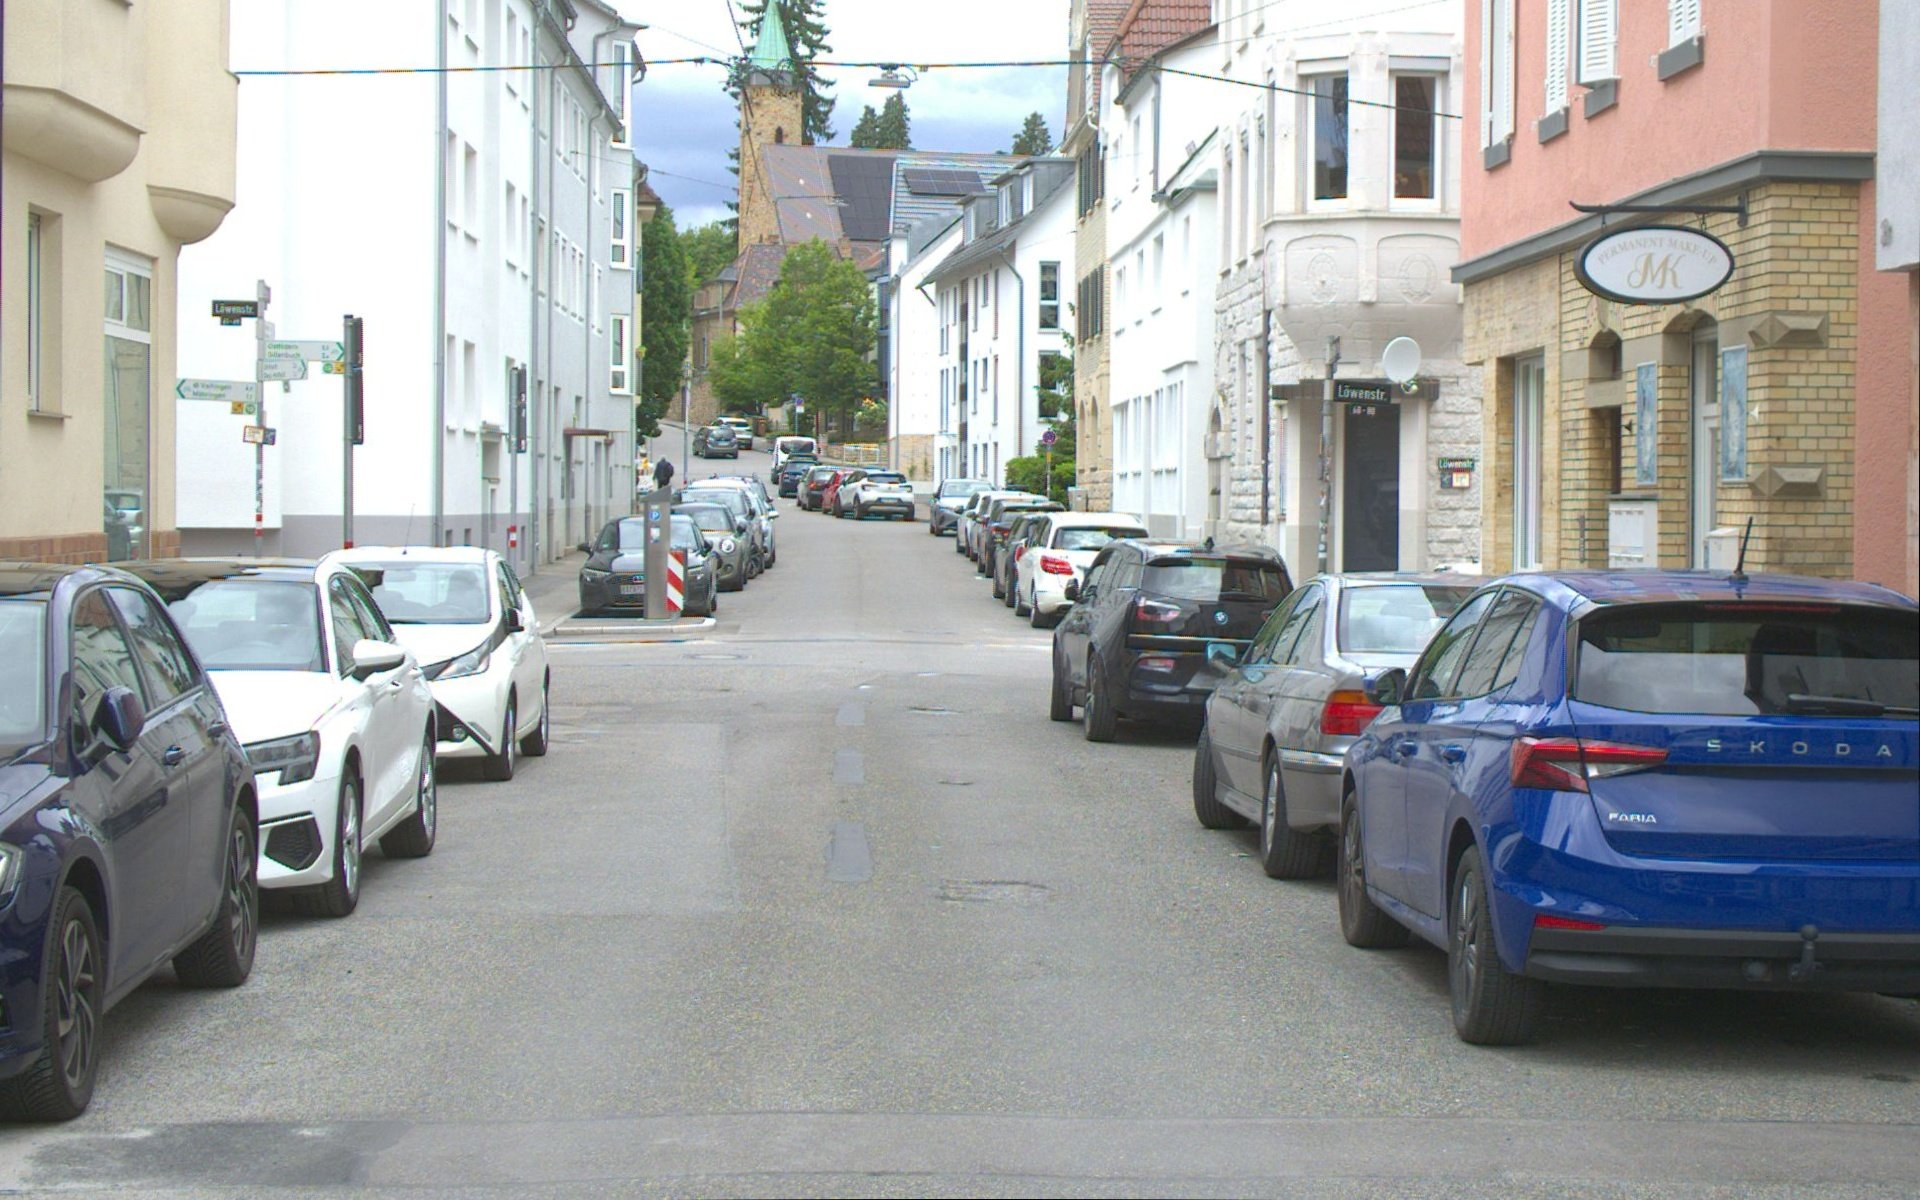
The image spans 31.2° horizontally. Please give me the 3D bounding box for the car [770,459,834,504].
[{"bbox_3d":[-6.155,-4.616,133.332,1.888,1.598,3.716,3,2,-11],"label":"car"}]

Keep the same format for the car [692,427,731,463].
[{"bbox_3d":[-12.531,-7.811,173.371,1.747,1.678,3.600,3,2,-6],"label":"car"}]

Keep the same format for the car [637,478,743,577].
[{"bbox_3d":[-4.458,-1.226,57.093,1.539,1.510,3.379,3,2,-2],"label":"car"}]

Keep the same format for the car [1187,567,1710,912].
[{"bbox_3d":[2.220,0.578,16.694,1.748,1.386,4.032,2,1,-3],"label":"car"}]

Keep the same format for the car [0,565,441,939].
[{"bbox_3d":[-3.118,0.555,14.890,1.283,1.354,3.805,0,1,-2],"label":"car"}]

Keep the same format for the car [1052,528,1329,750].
[{"bbox_3d":[1.770,0.254,27.497,1.712,1.544,3.803,3,1,-3],"label":"car"}]

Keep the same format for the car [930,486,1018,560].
[{"bbox_3d":[0.252,-1.521,67.393,1.407,1.301,2.903,2,3,-5],"label":"car"}]

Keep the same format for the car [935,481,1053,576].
[{"bbox_3d":[0.590,-1.330,62.797,1.727,1.569,3.835,2,3,-5],"label":"car"}]

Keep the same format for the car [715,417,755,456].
[{"bbox_3d":[-12.027,-8.765,183.951,1.821,1.917,3.751,3,3,-7],"label":"car"}]

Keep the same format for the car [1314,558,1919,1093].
[{"bbox_3d":[2.334,0.621,11.583,1.774,1.470,3.783,1,1,-1],"label":"car"}]

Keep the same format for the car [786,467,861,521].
[{"bbox_3d":[-4.651,-3.611,116.617,1.888,1.640,3.976,3,3,-11],"label":"car"}]

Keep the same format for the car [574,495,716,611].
[{"bbox_3d":[-4.352,-0.693,47.959,1.674,1.459,4.001,3,2,-2],"label":"car"}]

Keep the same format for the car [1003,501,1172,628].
[{"bbox_3d":[1.718,-0.526,47.511,1.766,1.520,3.904,2,3,-6],"label":"car"}]

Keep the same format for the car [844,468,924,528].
[{"bbox_3d":[-2.365,-3.143,105.624,1.759,1.661,4.002,3,2,-10],"label":"car"}]

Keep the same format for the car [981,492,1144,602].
[{"bbox_3d":[1.525,-0.841,52.798,1.954,1.569,4.001,2,1,-6],"label":"car"}]

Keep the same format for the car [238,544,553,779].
[{"bbox_3d":[-3.627,0.349,22.569,1.586,1.417,3.401,0,1,-1],"label":"car"}]

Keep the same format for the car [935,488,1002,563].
[{"bbox_3d":[0.202,-1.873,86.907,1.578,1.753,3.210,2,0,-1],"label":"car"}]

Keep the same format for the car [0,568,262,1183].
[{"bbox_3d":[-3.156,0.640,10.057,1.606,1.419,3.854,0,1,-3],"label":"car"}]
